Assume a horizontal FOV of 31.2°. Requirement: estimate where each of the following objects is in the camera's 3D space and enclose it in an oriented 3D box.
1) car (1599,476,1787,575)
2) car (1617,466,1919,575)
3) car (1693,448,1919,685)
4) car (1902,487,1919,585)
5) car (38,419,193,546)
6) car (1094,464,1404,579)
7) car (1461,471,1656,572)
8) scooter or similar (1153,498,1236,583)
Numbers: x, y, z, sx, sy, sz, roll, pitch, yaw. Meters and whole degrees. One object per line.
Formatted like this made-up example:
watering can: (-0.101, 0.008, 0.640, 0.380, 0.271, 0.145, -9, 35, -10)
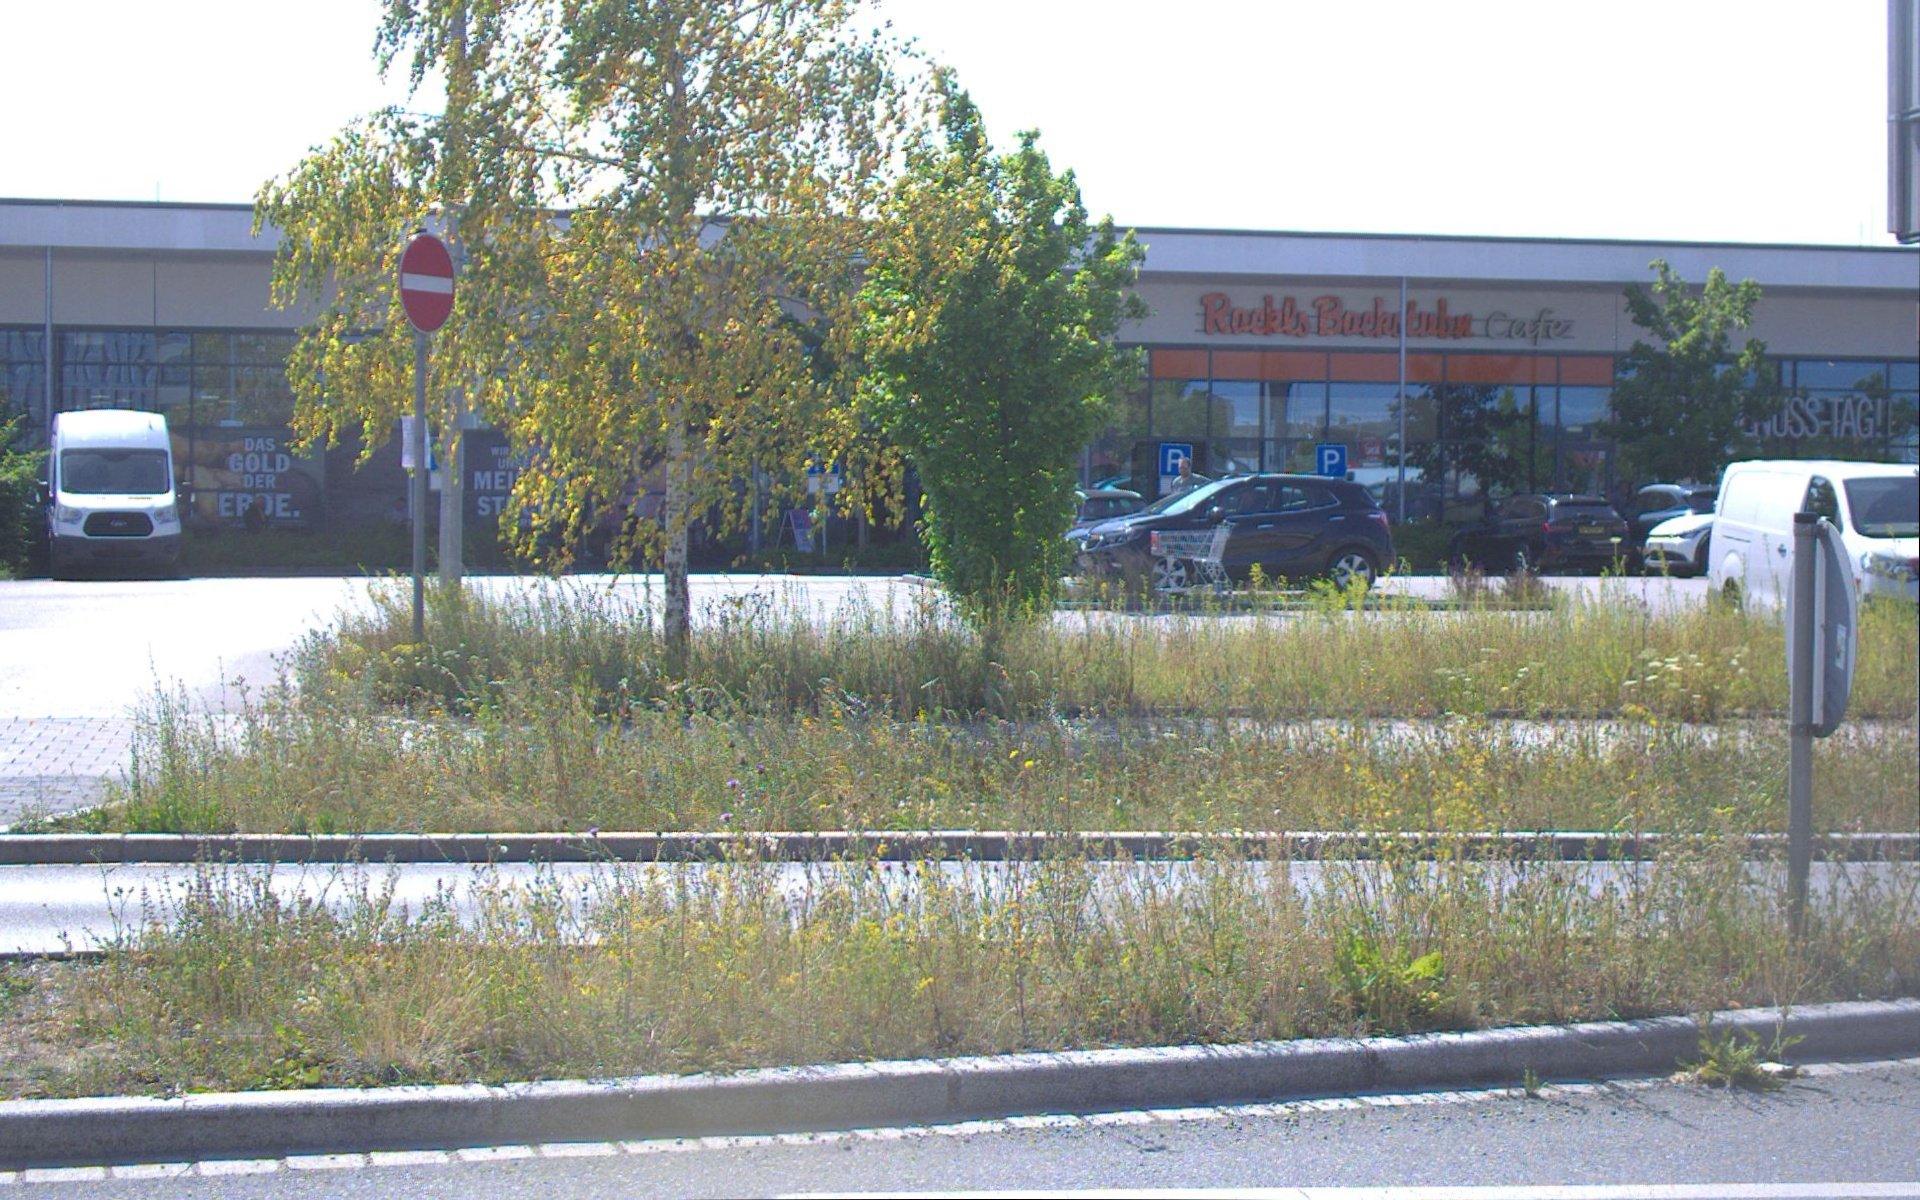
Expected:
car: (13.219, -1.375, 62.207, 1.993, 1.701, 4.002, 0, 2, -9)
car: (13.346, -1.312, 56.831, 4.470, 1.700, 1.875, 1, 1, -9)
car: (8.596, -0.376, 31.876, 2.080, 2.006, 5.230, 1, 2, -4)
car: (15.520, -0.885, 48.868, 3.718, 1.386, 1.733, 0, 2, -15)
car: (-13.961, -1.951, 56.569, 2.222, 1.970, 6.699, 0, 2, -16)
car: (3.866, -1.066, 46.251, 3.792, 1.503, 1.732, 0, 2, -12)
car: (10.645, -1.422, 61.405, 1.993, 1.701, 4.002, 0, 2, -13)
scooter or similar: (3.028, -0.773, 44.387, 0.943, 1.075, 0.652, 0, 2, -8)
